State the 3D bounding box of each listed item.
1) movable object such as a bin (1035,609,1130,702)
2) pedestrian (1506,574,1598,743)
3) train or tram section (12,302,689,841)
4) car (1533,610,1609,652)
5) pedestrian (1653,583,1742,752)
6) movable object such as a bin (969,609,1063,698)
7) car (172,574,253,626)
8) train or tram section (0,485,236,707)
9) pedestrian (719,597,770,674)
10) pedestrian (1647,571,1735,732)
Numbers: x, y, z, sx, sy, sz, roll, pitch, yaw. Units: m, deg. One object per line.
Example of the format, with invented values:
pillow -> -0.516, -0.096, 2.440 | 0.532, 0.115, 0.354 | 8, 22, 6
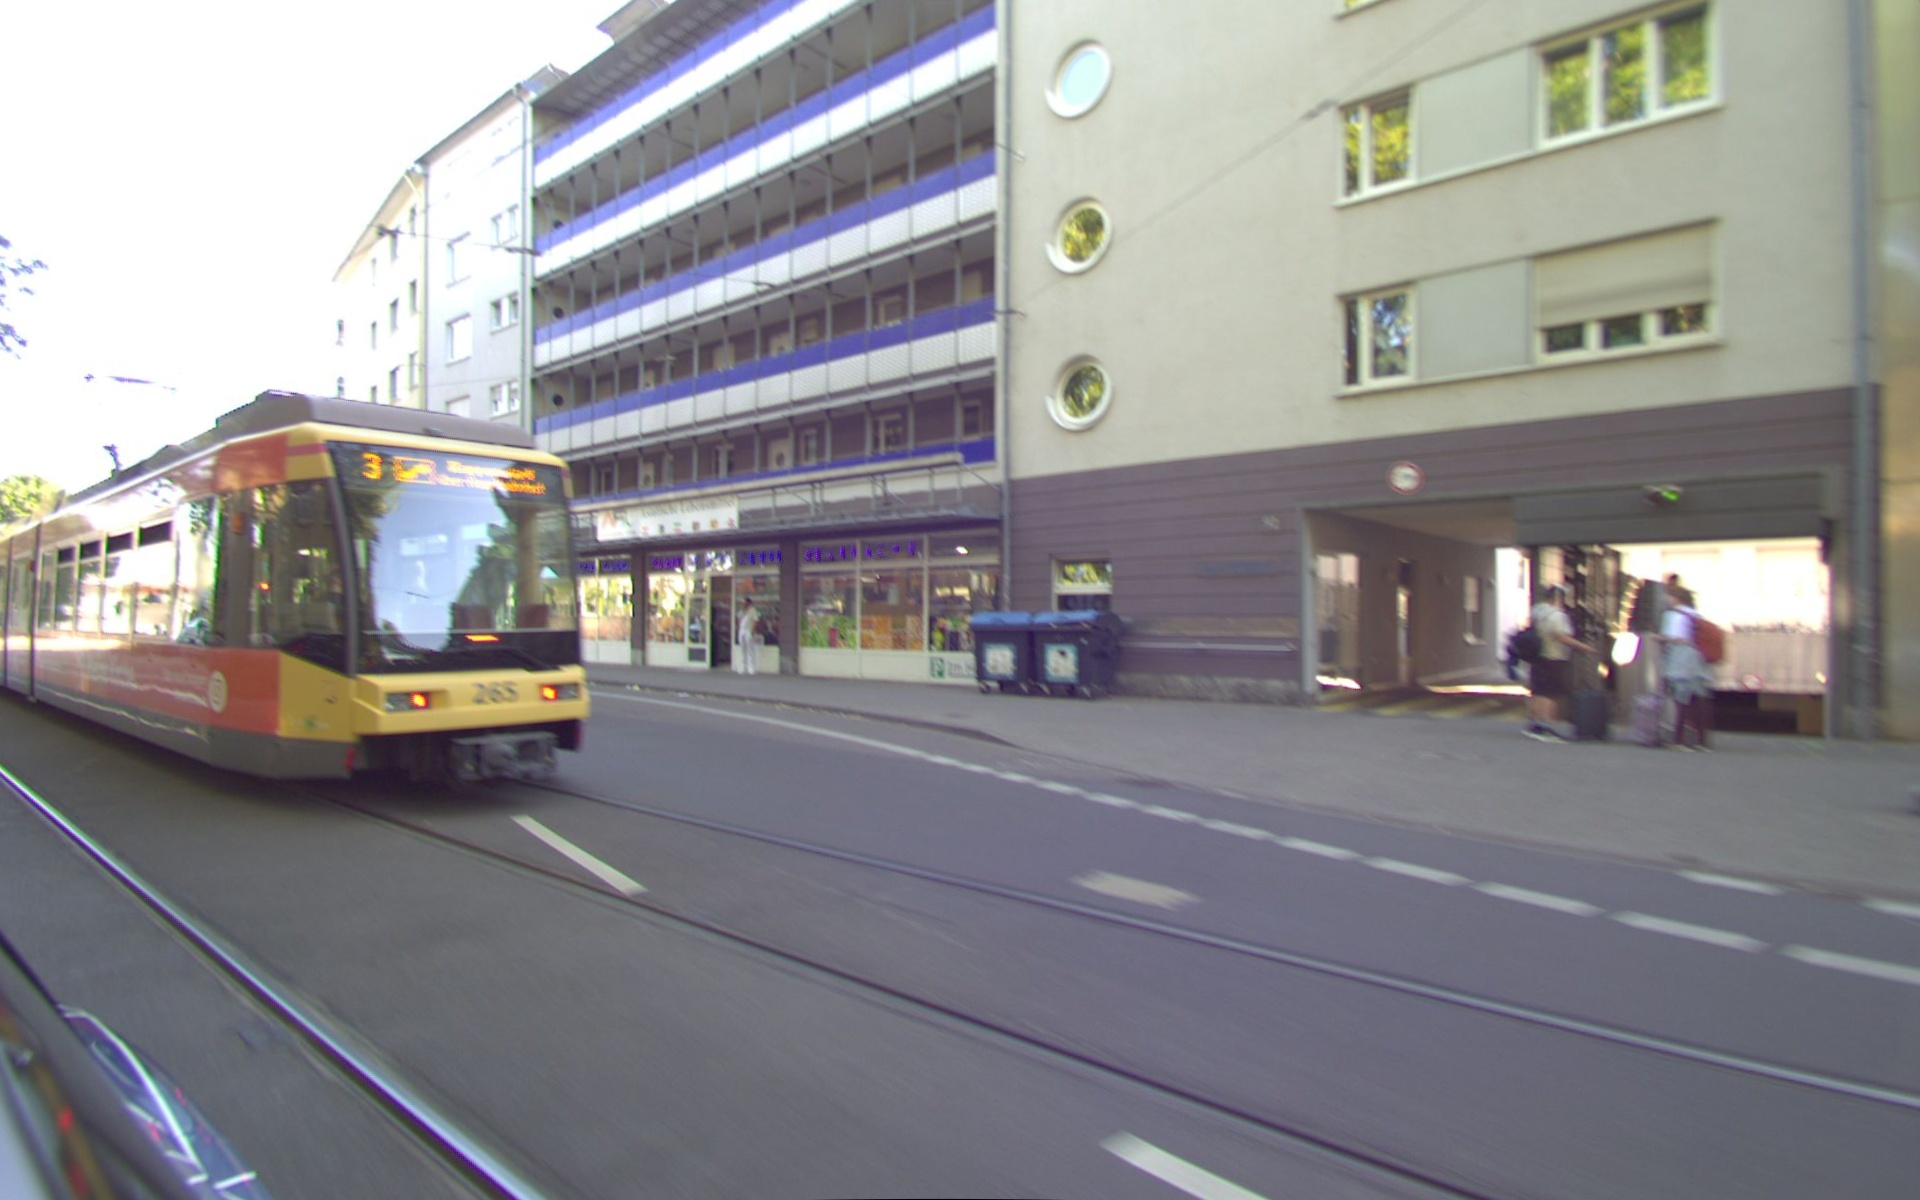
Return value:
movable object such as a bin -> 2.026, 0.883, 16.718 | 1.209, 1.462, 1.046 | -1, -1, 37
pedestrian -> 6.648, 0.621, 11.356 | 0.735, 1.798, 0.856 | -1, 0, 40
train or tram section -> -8.634, -0.100, 12.368 | 14.190, 3.512, 2.878 | -1, -1, 41
car -> 22.002, 1.092, 36.368 | 1.787, 1.409, 3.550 | -1, -1, 40
pedestrian -> 7.592, 0.663, 10.415 | 0.686, 1.645, 0.720 | -1, 1, 40
movable object such as a bin -> 0.964, 0.890, 17.506 | 1.212, 1.462, 1.128 | -1, -1, 37
car -> -29.478, 0.046, 39.884 | 1.970, 1.846, 4.228 | 5, -4, -43
train or tram section -> -19.007, 0.018, 21.511 | 13.362, 3.512, 2.878 | -1, -1, 41
pedestrian -> -5.016, 0.809, 23.542 | 0.819, 1.726, 0.779 | -1, 2, 41
pedestrian -> 8.709, 0.577, 12.048 | 0.729, 1.827, 0.952 | -1, 1, 42
